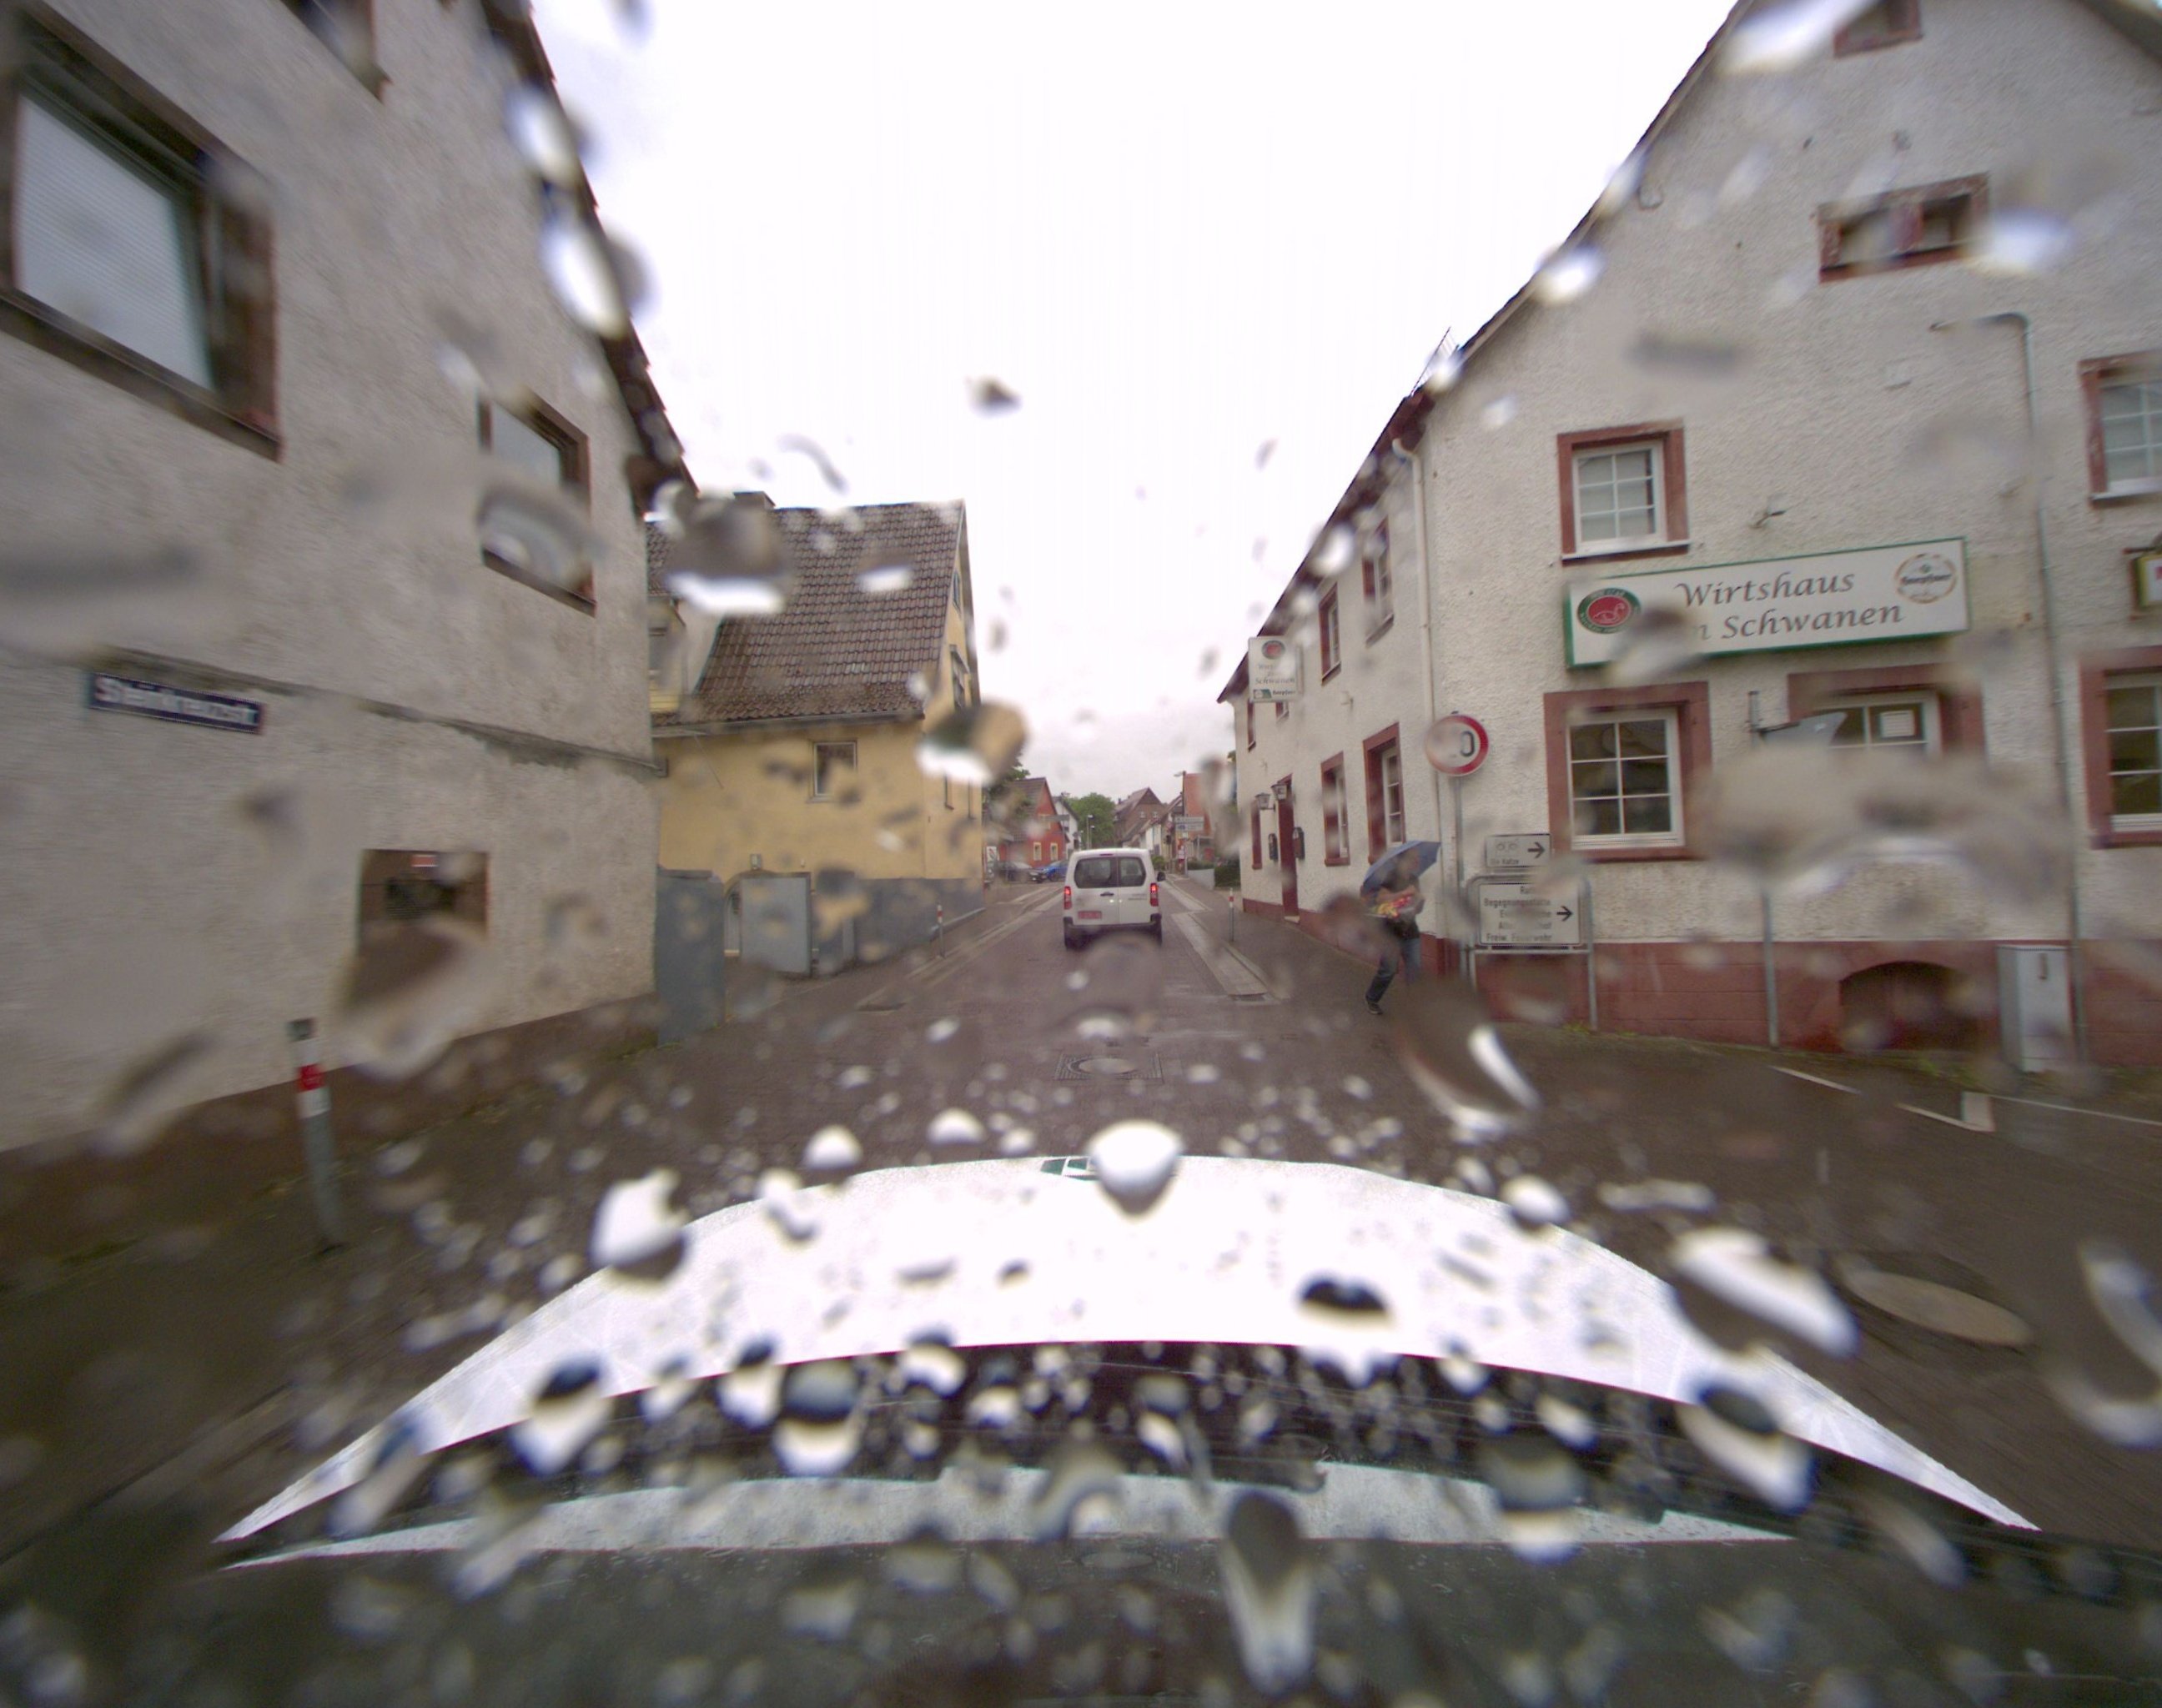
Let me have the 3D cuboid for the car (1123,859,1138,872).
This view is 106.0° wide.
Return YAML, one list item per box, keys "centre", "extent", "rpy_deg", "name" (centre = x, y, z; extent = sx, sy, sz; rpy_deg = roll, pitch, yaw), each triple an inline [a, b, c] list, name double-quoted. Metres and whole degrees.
- centre: [6.940, 1.644, 114.533]
  extent: [1.987, 1.747, 4.000]
  rpy_deg: [-2, -2, 1]
  name: "car"

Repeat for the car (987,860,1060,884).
- centre: [-3.702, 1.154, 52.172]
  extent: [4.263, 1.477, 1.859]
  rpy_deg: [0, -1, 21]
  name: "car"

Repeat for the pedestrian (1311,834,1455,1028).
- centre: [2.917, 0.697, 7.925]
  extent: [0.996, 1.736, 0.807]
  rpy_deg: [-2, 0, -15]
  name: "pedestrian"

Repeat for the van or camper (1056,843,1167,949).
- centre: [0.581, 0.766, 16.189]
  extent: [1.936, 1.851, 4.001]
  rpy_deg: [0, -1, 1]
  name: "van or camper"

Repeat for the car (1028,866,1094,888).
- centre: [-1.382, 1.594, 56.685]
  extent: [4.016, 1.373, 2.088]
  rpy_deg: [-1, -3, -35]
  name: "car"

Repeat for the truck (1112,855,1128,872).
- centre: [6.166, 1.529, 128.281]
  extent: [2.342, 2.426, 4.949]
  rpy_deg: [-2, -2, 1]
  name: "truck"

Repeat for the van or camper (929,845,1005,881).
- centre: [-8.376, 0.676, 59.658]
  extent: [5.093, 2.435, 2.225]
  rpy_deg: [-2, 0, 29]
  name: "van or camper"

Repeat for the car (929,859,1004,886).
- centre: [-7.301, 1.159, 51.949]
  extent: [4.406, 1.549, 1.893]
  rpy_deg: [0, 1, 23]
  name: "car"
